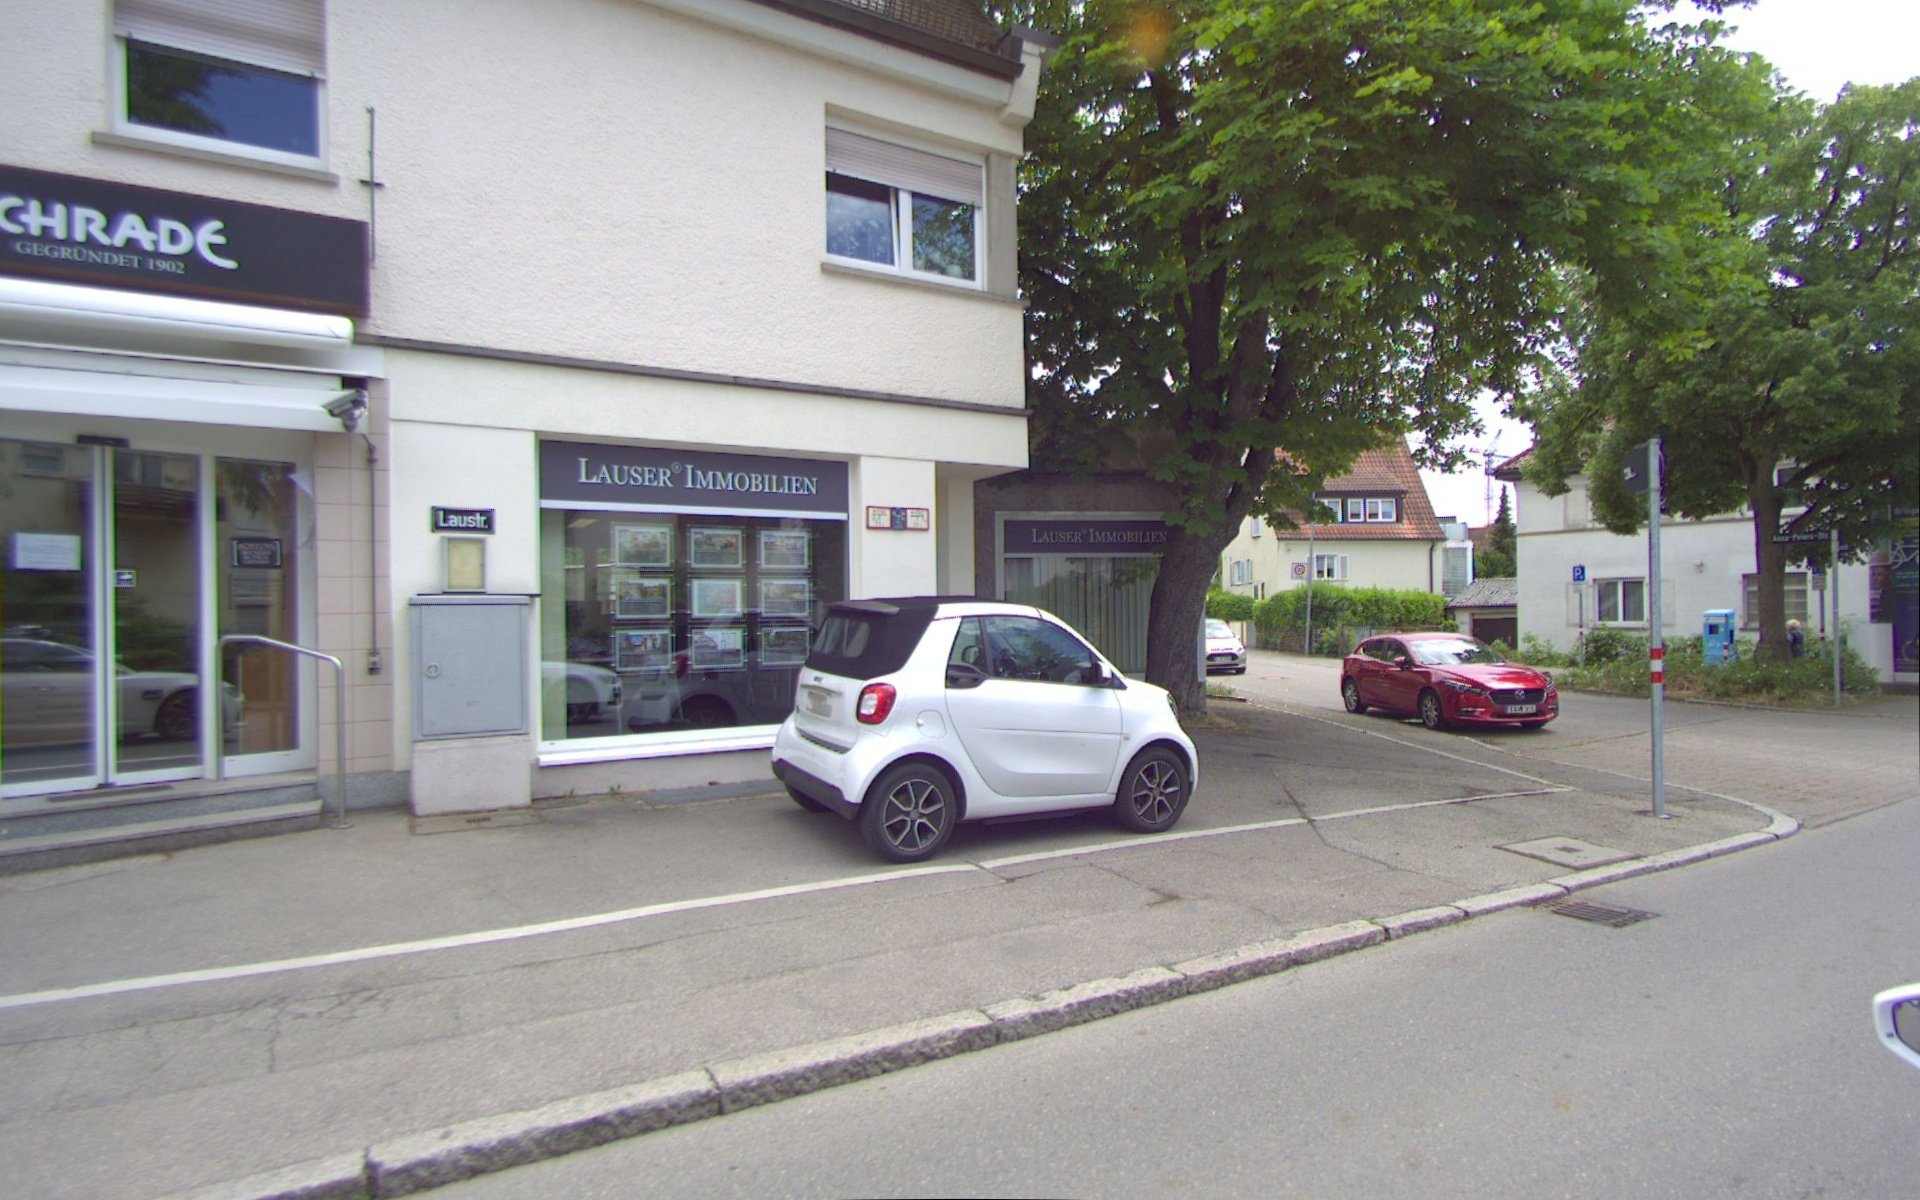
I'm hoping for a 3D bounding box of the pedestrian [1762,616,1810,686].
[{"bbox_3d":[19.944,1.206,24.248,0.706,1.638,0.694,-1,0,-29],"label":"pedestrian"}]

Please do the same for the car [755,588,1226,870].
[{"bbox_3d":[0.213,0.743,7.041,2.888,1.559,1.581,1,1,-29],"label":"car"}]

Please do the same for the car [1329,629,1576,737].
[{"bbox_3d":[7.923,1.256,16.675,1.781,1.451,4.232,-2,-1,-3],"label":"car"}]

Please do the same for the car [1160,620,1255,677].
[{"bbox_3d":[7.392,1.406,30.338,1.796,1.509,3.978,-2,0,-1],"label":"car"}]
